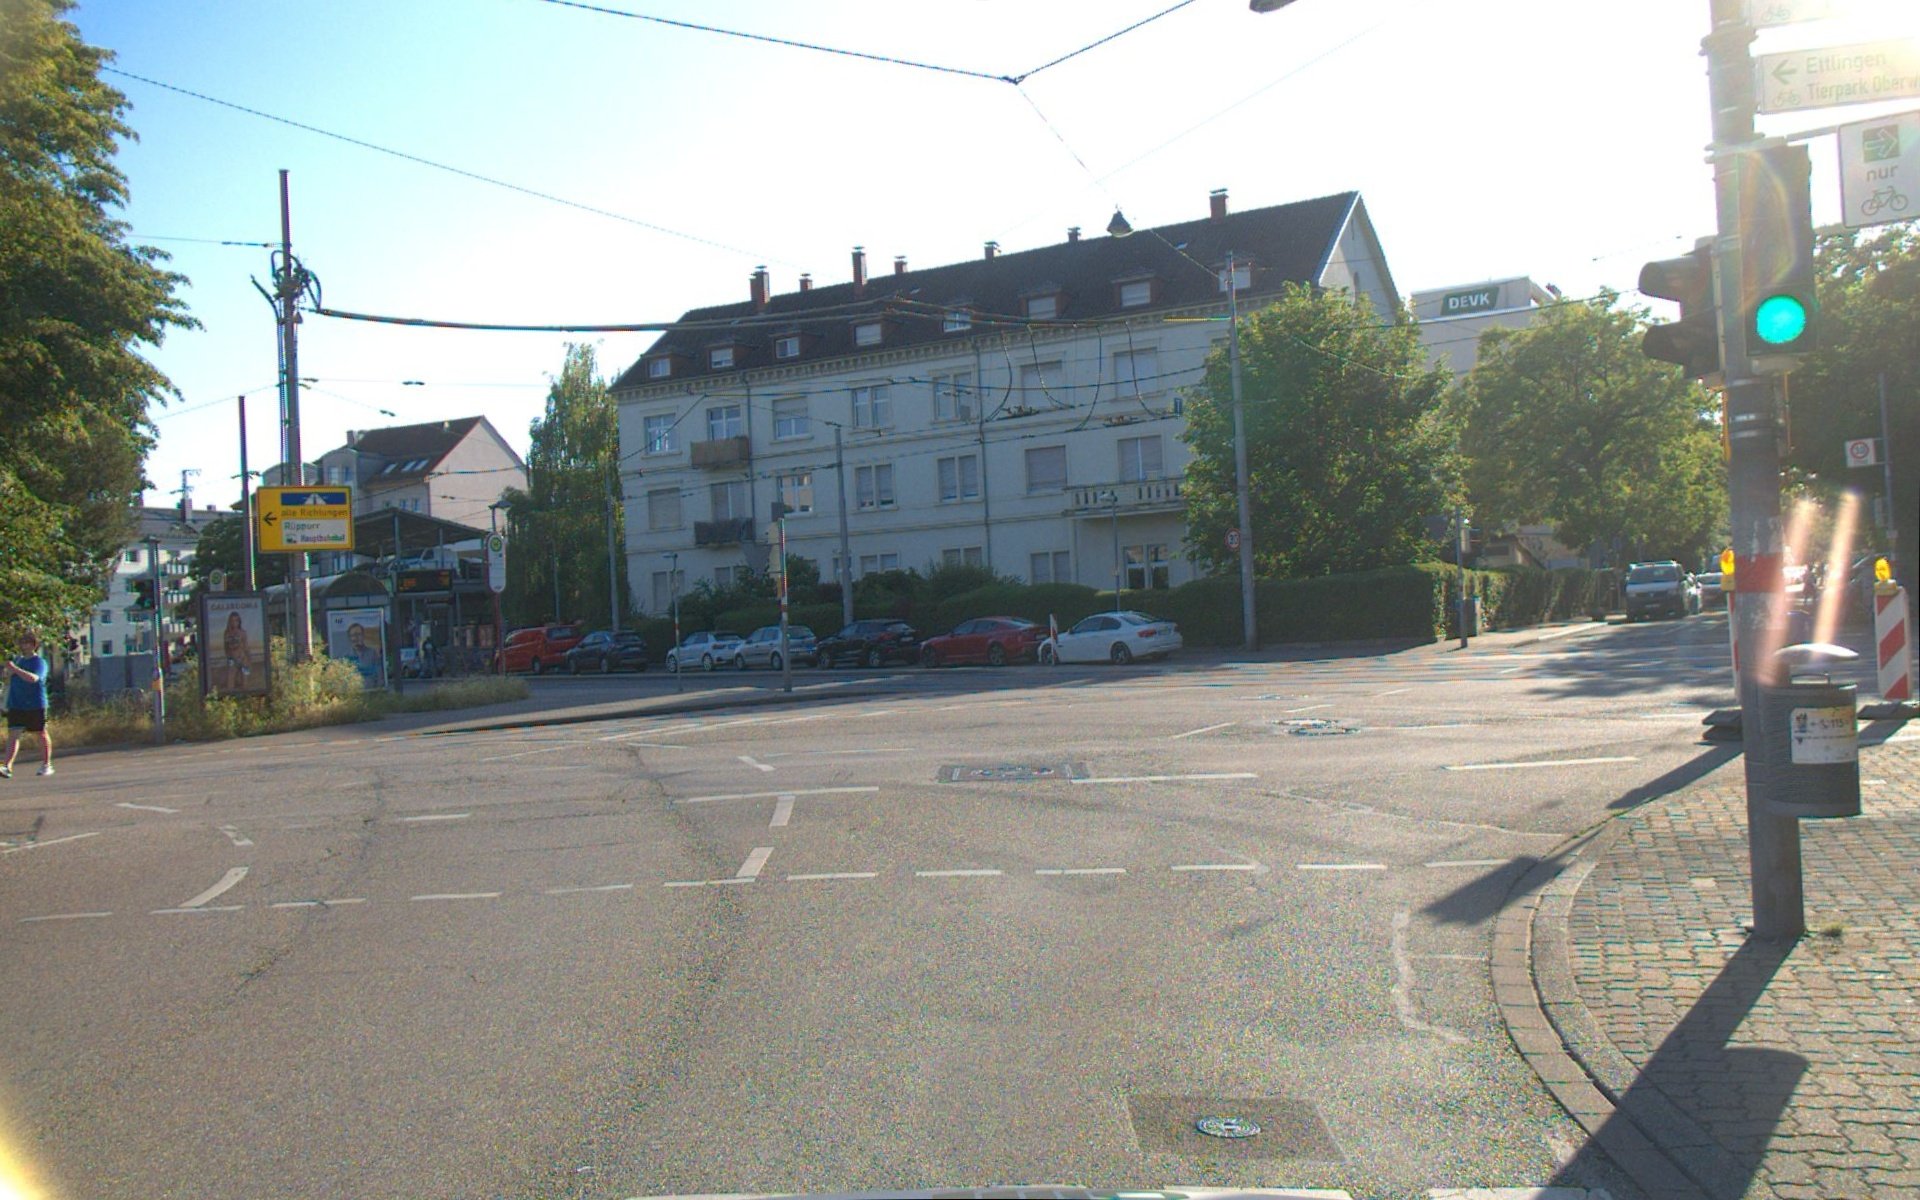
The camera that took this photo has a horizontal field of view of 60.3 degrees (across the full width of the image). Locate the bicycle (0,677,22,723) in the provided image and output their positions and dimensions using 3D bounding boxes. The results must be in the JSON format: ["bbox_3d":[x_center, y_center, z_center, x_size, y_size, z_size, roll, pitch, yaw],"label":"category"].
[{"bbox_3d":[-23.796,2.462,39.971,0.647,1.087,2.020,-3,0,18],"label":"bicycle"}]

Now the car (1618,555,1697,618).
[{"bbox_3d":[25.363,-0.502,60.012,2.308,2.049,5.305,-3,-1,26],"label":"car"}]

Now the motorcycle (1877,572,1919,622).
[{"bbox_3d":[22.948,-0.108,39.268,1.912,1.128,0.837,-4,-1,24],"label":"motorcycle"}]

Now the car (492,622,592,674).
[{"bbox_3d":[-18.138,2.107,71.615,2.039,1.995,5.073,-5,1,-41],"label":"car"}]

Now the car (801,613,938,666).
[{"bbox_3d":[-3.011,1.322,54.240,1.970,1.472,4.634,-6,1,-41],"label":"car"}]

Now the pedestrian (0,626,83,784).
[{"bbox_3d":[-12.113,1.346,21.421,0.894,1.958,1.066,-3,-1,-5],"label":"pedestrian"}]

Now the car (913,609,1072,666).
[{"bbox_3d":[0.932,1.134,49.793,4.625,1.400,1.974,-4,1,44],"label":"car"}]

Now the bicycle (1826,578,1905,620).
[{"bbox_3d":[22.788,-0.024,41.656,1.691,0.949,0.671,-4,-1,29],"label":"bicycle"}]

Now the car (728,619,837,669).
[{"bbox_3d":[-6.190,1.530,57.434,1.970,1.472,3.663,-6,1,-41],"label":"car"}]

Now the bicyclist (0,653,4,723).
[{"bbox_3d":[-23.790,2.166,39.995,0.654,1.681,0.887,-3,-1,17],"label":"bicyclist"}]

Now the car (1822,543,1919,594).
[{"bbox_3d":[40.831,-1.413,72.801,4.990,1.958,2.360,-3,-3,26],"label":"car"}]

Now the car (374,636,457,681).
[{"bbox_3d":[-27.163,2.926,82.446,2.039,1.995,5.073,-5,1,-41],"label":"car"}]

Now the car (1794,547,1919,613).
[{"bbox_3d":[31.124,-0.690,55.463,5.510,1.958,2.360,-3,-3,26],"label":"car"}]

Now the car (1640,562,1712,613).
[{"bbox_3d":[28.365,-0.520,65.437,2.308,1.826,5.305,-3,-1,26],"label":"car"}]

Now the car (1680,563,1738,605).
[{"bbox_3d":[35.659,-0.775,78.649,2.308,1.826,5.305,-3,-1,26],"label":"car"}]

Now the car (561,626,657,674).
[{"bbox_3d":[-14.169,2.015,66.635,1.829,1.696,4.304,-6,1,-41],"label":"car"}]

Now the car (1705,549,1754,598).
[{"bbox_3d":[43.129,-1.479,92.625,2.308,2.558,5.305,-3,-1,26],"label":"car"}]

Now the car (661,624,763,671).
[{"bbox_3d":[-9.153,1.752,60.879,1.830,1.472,3.899,-6,1,-41],"label":"car"}]

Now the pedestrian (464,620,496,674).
[{"bbox_3d":[-18.817,1.848,64.859,0.914,2.049,0.759,-3,-1,-37],"label":"pedestrian"}]

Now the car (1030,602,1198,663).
[{"bbox_3d":[4.216,0.918,45.851,1.916,1.400,4.426,-6,1,-43],"label":"car"}]

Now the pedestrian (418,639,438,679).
[{"bbox_3d":[-21.153,2.341,65.740,0.560,1.527,0.672,-3,-1,-29],"label":"pedestrian"}]

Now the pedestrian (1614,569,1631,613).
[{"bbox_3d":[27.420,-0.380,68.459,0.567,1.761,0.608,-3,-1,23],"label":"pedestrian"}]
